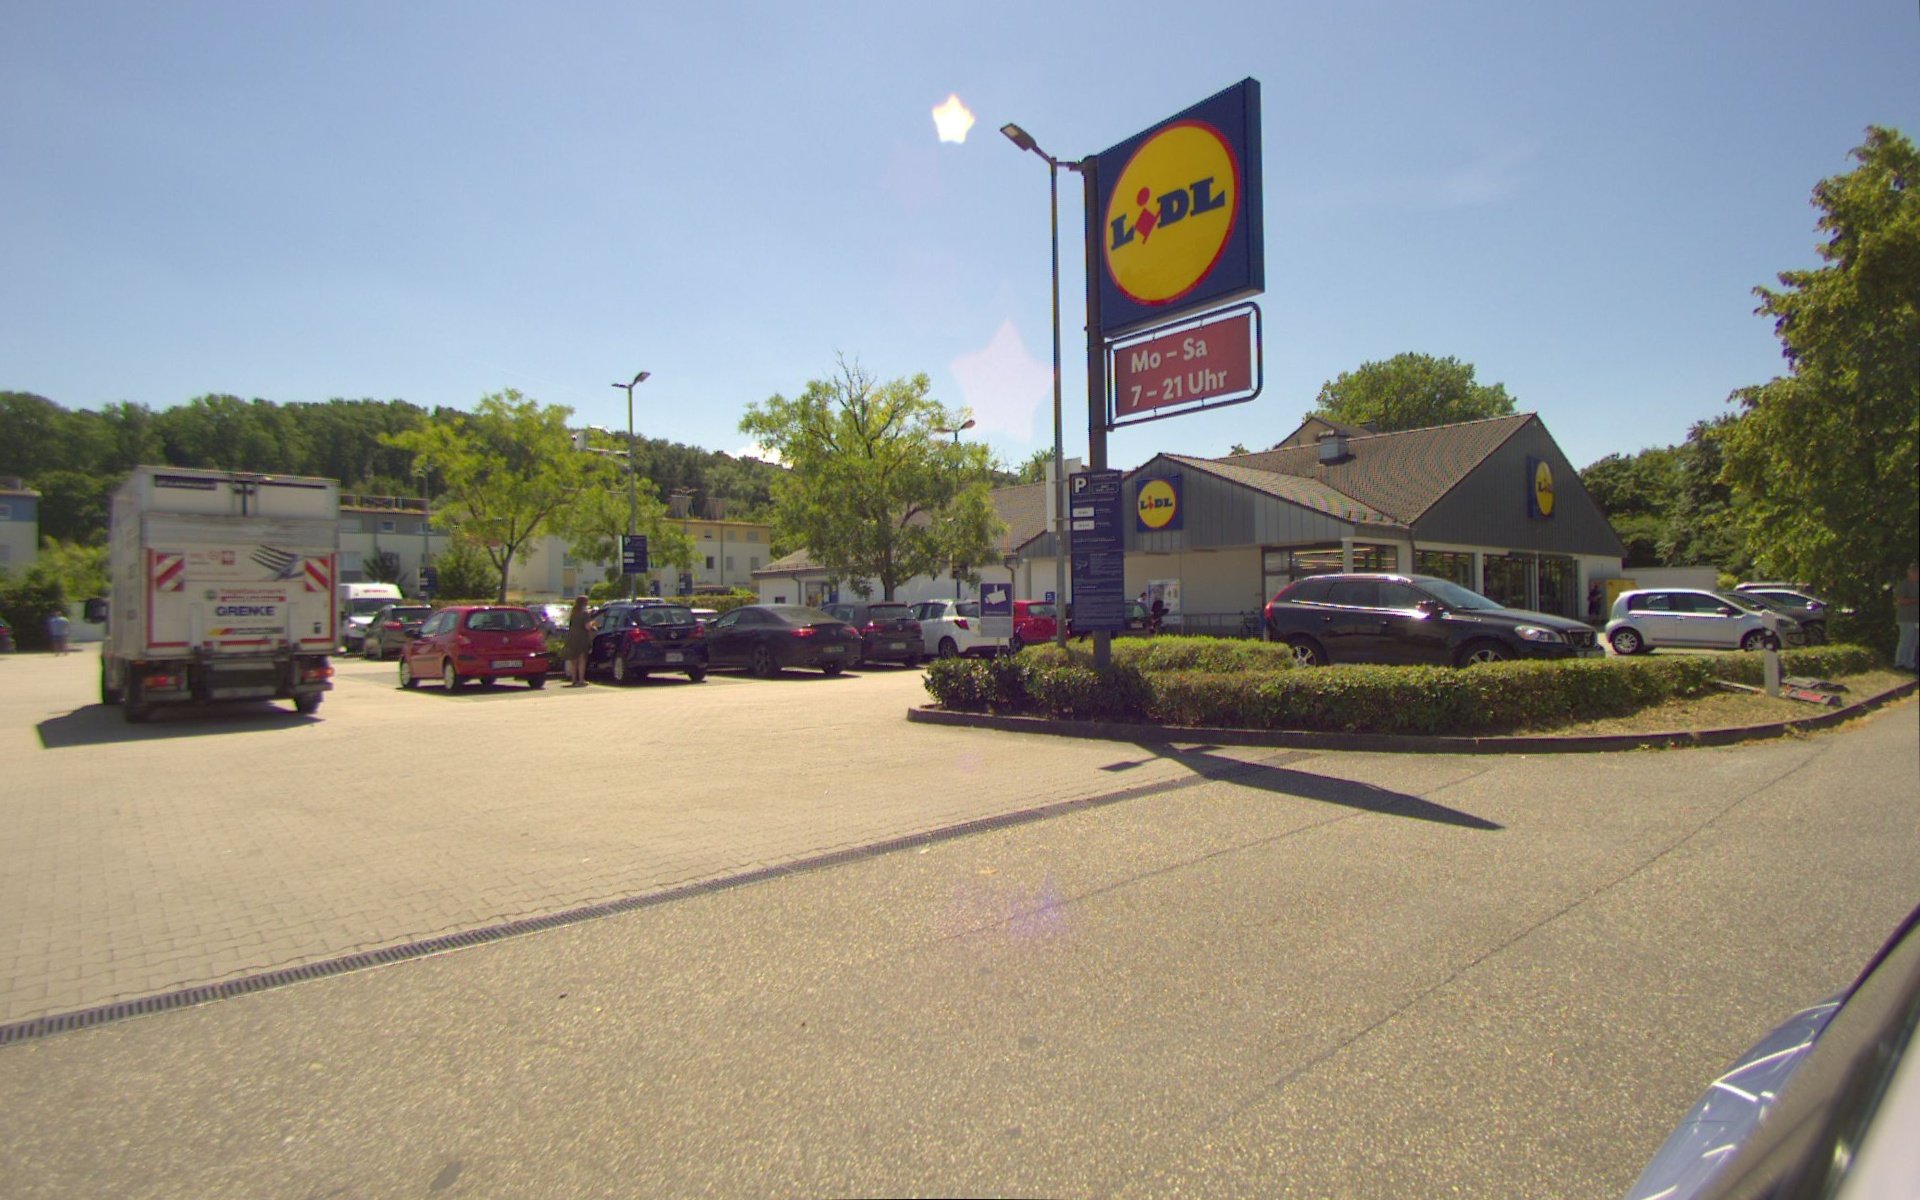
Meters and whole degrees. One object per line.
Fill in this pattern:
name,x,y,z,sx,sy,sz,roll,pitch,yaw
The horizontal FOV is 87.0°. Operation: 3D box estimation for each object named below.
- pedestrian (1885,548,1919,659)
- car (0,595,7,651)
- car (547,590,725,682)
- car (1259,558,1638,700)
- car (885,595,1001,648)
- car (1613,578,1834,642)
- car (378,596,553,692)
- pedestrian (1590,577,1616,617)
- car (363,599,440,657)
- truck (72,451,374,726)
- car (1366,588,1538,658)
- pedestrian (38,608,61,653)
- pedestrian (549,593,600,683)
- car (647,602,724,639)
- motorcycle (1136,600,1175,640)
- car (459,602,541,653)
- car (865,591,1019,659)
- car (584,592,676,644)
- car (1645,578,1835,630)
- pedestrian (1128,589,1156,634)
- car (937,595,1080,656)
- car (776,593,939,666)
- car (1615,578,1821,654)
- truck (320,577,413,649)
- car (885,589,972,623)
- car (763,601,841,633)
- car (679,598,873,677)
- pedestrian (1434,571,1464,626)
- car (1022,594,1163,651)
pedestrian,15.842,0.059,16.680,0.608,1.811,0.732,0,0,-32
car,-37.292,0.854,36.406,4.275,2.039,1.997,-1,0,-41
car,-6.380,0.649,19.653,1.778,1.583,4.025,-1,-1,-42
car,6.707,0.346,14.386,1.859,1.689,4.527,0,0,-36
car,-0.568,0.621,31.420,1.715,1.523,3.603,0,0,-41
car,19.487,0.232,25.964,1.779,1.499,4.314,0,0,-43
car,-9.070,0.736,18.417,3.986,1.551,1.626,-1,-1,44
pedestrian,28.486,-0.124,44.846,0.685,1.763,0.763,0,0,-38
car,-17.743,0.832,32.073,1.621,1.670,3.872,0,0,-37
truck,-10.336,-0.087,13.942,5.933,2.986,2.384,-2,-1,44
car,11.642,0.522,24.307,1.711,1.523,4.304,0,0,-5
pedestrian,-36.035,1.207,40.068,0.669,1.738,0.705,0,0,-43
pedestrian,-7.060,0.674,18.548,0.694,1.612,0.679,0,0,-40
car,-10.589,0.771,38.939,1.405,1.338,3.419,0,0,-43
motorcycle,6.963,0.686,36.084,0.382,1.388,1.475,0,0,-41
car,-15.554,0.864,34.128,1.718,1.580,3.761,0,0,-38
car,-0.498,0.573,24.620,1.787,1.523,3.728,0,-1,-41
car,-12.330,0.617,37.688,1.747,1.813,3.990,0,0,-43
car,23.089,0.118,30.062,1.921,1.429,4.233,0,0,-43
pedestrian,6.389,0.385,35.570,0.549,1.571,0.802,0,0,-42
car,1.191,0.628,26.199,1.715,1.476,3.602,0,-1,-41
car,-2.393,0.627,22.855,1.697,1.496,4.025,0,0,-40
car,16.505,0.305,22.124,1.555,1.525,3.401,1,0,-43
truck,-22.106,0.460,37.584,2.140,2.489,5.480,0,0,-39
car,-1.489,0.277,49.098,1.994,1.571,3.935,0,0,45
car,-8.815,0.917,56.685,1.994,1.705,3.935,0,0,45
car,-3.809,0.670,20.517,1.870,1.409,4.246,-1,0,-44
pedestrian,15.937,-0.059,32.981,0.697,1.776,0.772,0,0,44
car,3.521,0.583,27.343,1.642,1.435,3.602,0,-1,-41
